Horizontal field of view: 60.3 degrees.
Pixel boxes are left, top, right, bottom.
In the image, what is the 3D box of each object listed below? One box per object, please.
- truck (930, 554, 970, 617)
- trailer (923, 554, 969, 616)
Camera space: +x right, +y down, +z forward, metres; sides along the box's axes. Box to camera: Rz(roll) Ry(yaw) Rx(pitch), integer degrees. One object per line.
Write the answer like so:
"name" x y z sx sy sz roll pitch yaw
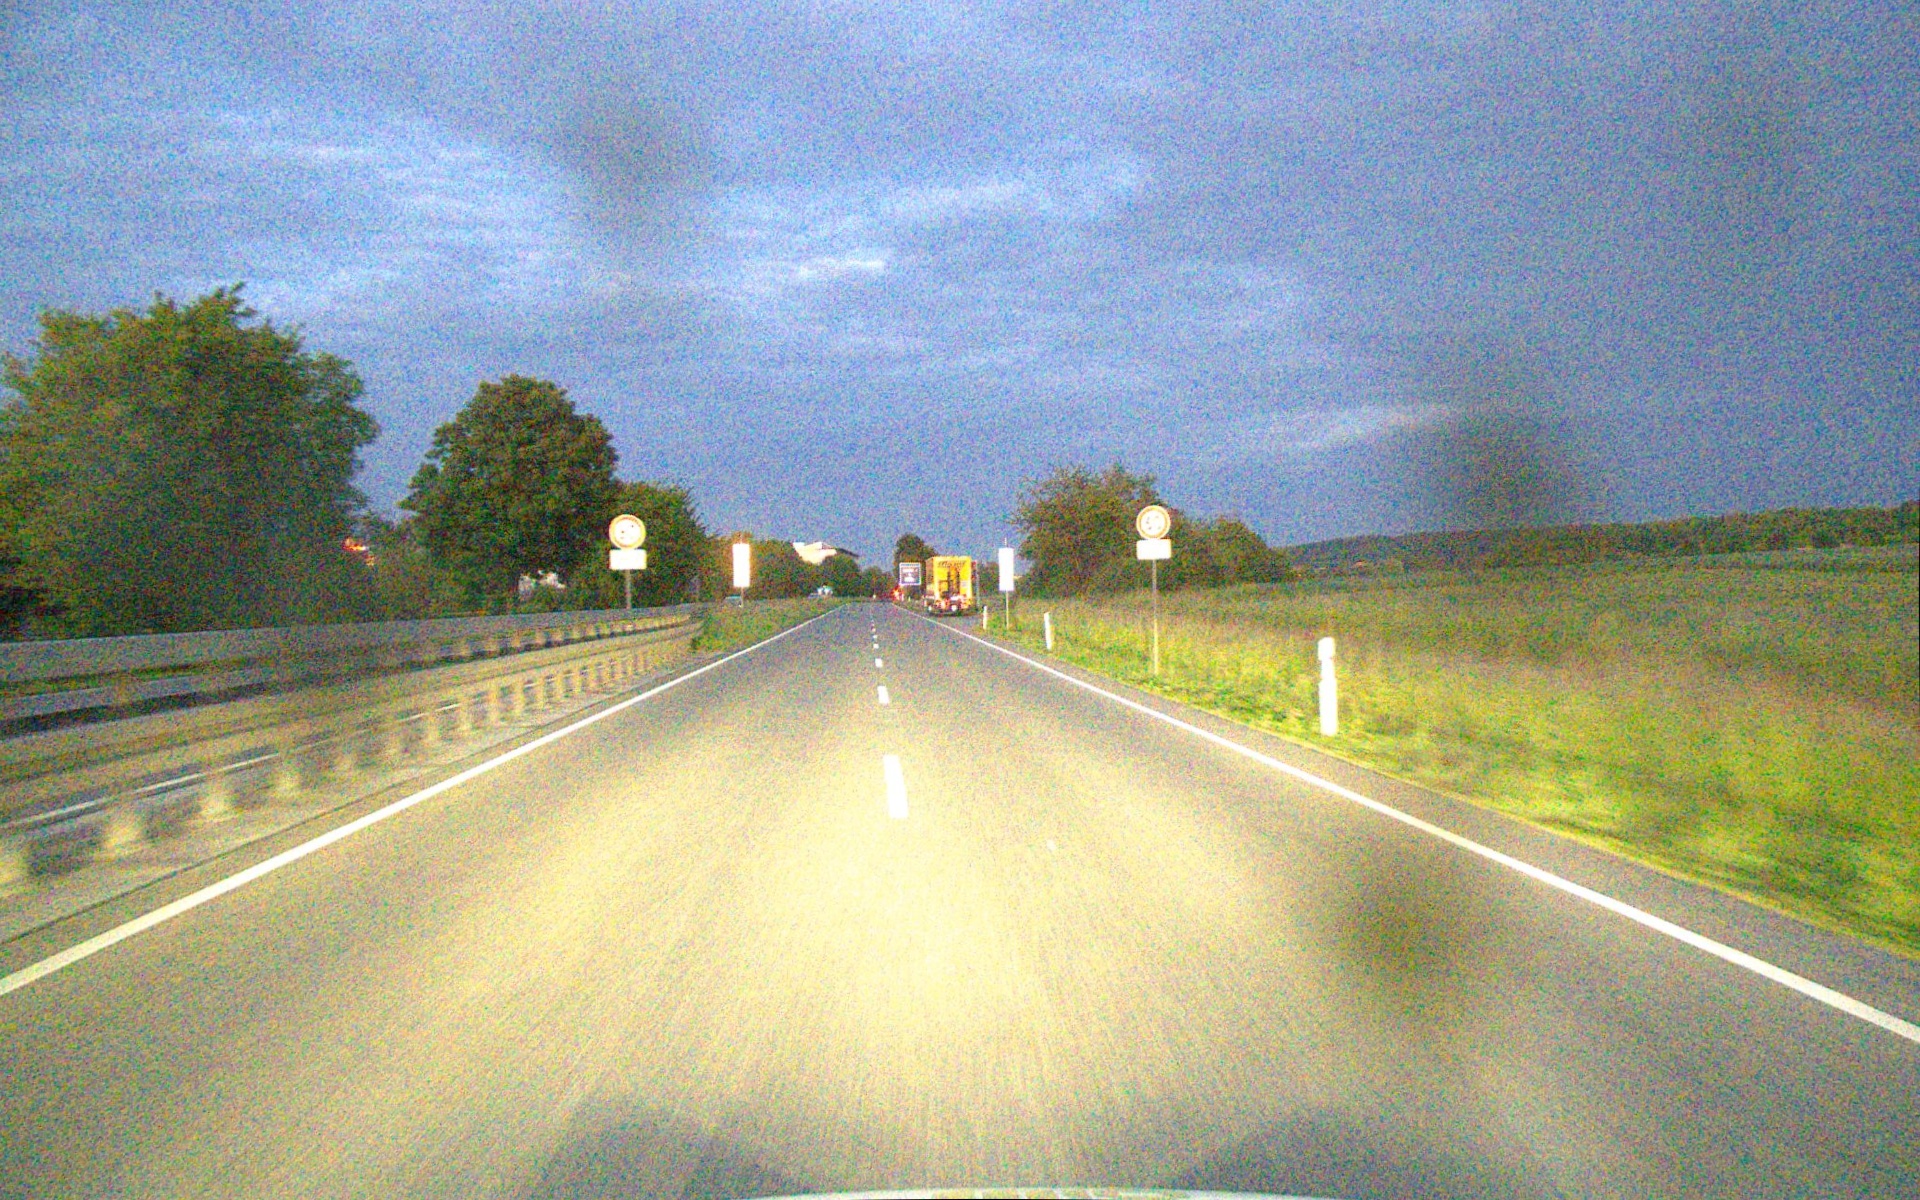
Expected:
"truck" -0.732 -1.000 112.683 2.528 4.142 6.127 0 1 -2
"trailer" -1.104 -1.050 119.593 2.570 4.175 12.929 -1 0 -3
